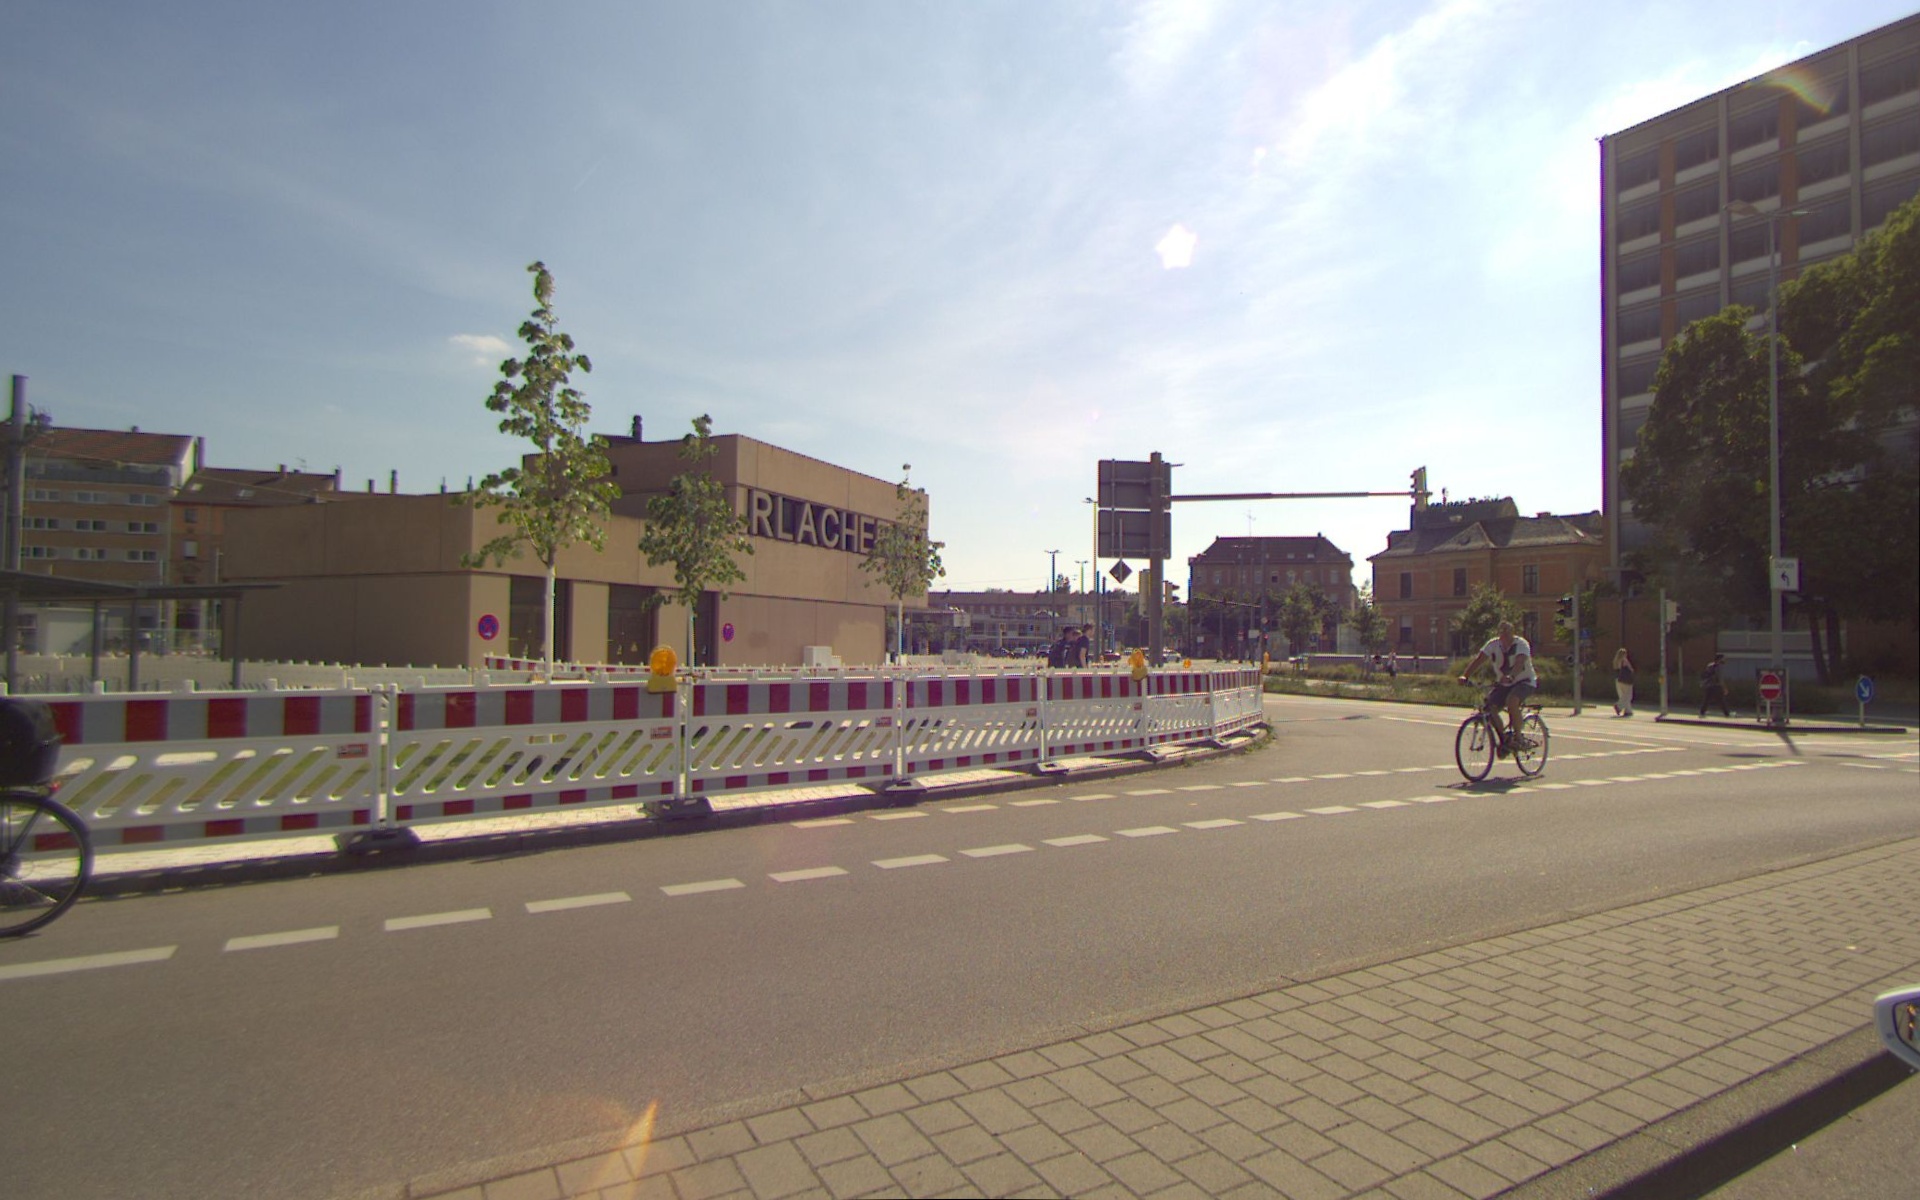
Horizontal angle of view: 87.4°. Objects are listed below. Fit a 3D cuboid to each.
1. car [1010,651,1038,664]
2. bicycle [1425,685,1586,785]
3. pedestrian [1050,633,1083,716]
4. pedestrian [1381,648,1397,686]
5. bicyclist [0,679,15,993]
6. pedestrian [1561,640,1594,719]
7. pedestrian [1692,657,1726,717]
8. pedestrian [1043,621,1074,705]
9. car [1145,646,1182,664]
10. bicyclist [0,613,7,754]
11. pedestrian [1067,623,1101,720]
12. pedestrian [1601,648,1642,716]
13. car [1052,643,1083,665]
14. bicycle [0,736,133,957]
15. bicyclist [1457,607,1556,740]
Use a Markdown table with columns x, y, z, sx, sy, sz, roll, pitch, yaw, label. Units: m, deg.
| x | y | z | sx | sy | sz | roll | pitch | yaw | label |
| --- | --- | --- | --- | --- | --- | --- | --- | --- | --- |
| 8.762 | 7.910 | 137.212 | 3.973 | 1.739 | 1.630 | 3 | -4 | -43 | car |
| 6.172 | 1.477 | 11.337 | 2.008 | 0.990 | 0.700 | 2 | -3 | -32 | bicycle |
| 2.250 | 1.573 | 21.227 | 0.559 | 1.731 | 0.539 | 1 | -2 | -9 | pedestrian |
| 23.019 | 3.596 | 53.894 | 0.517 | 2.040 | 0.622 | 2 | -3 | -34 | pedestrian |
| -5.128 | 1.174 | 4.613 | 1.004 | 1.602 | 0.615 | 2 | -4 | -35 | bicyclist |
| 16.414 | 2.085 | 26.703 | 0.604 | 2.040 | 0.687 | 2 | -1 | 23 | pedestrian |
| 19.552 | 2.260 | 26.213 | 0.624 | 1.511 | 0.613 | -2 | -3 | 44 | pedestrian |
| 2.138 | 1.361 | 21.847 | 0.559 | 1.801 | 0.544 | 1 | -2 | -9 | pedestrian |
| 23.822 | 6.412 | 117.621 | 3.953 | 2.040 | 1.984 | 2 | -3 | -30 | car |
| -5.129 | 0.769 | 4.640 | 0.911 | 1.462 | 0.615 | 2 | -4 | -35 | bicyclist |
| 2.529 | 1.457 | 20.467 | 0.595 | 1.940 | 0.441 | 1 | -2 | -9 | pedestrian |
| 17.857 | 2.207 | 27.107 | 0.728 | 1.775 | 1.104 | -2 | -5 | 44 | pedestrian |
| 10.451 | 5.219 | 97.403 | 1.961 | 2.040 | 4.000 | -1 | -3 | 21 | car |
| -5.120 | 1.175 | 4.623 | 1.948 | 0.973 | 0.614 | 2 | -4 | -35 | bicycle |
| 6.169 | 0.832 | 11.345 | 1.019 | 1.435 | 0.536 | 3 | -4 | -32 | bicyclist |
